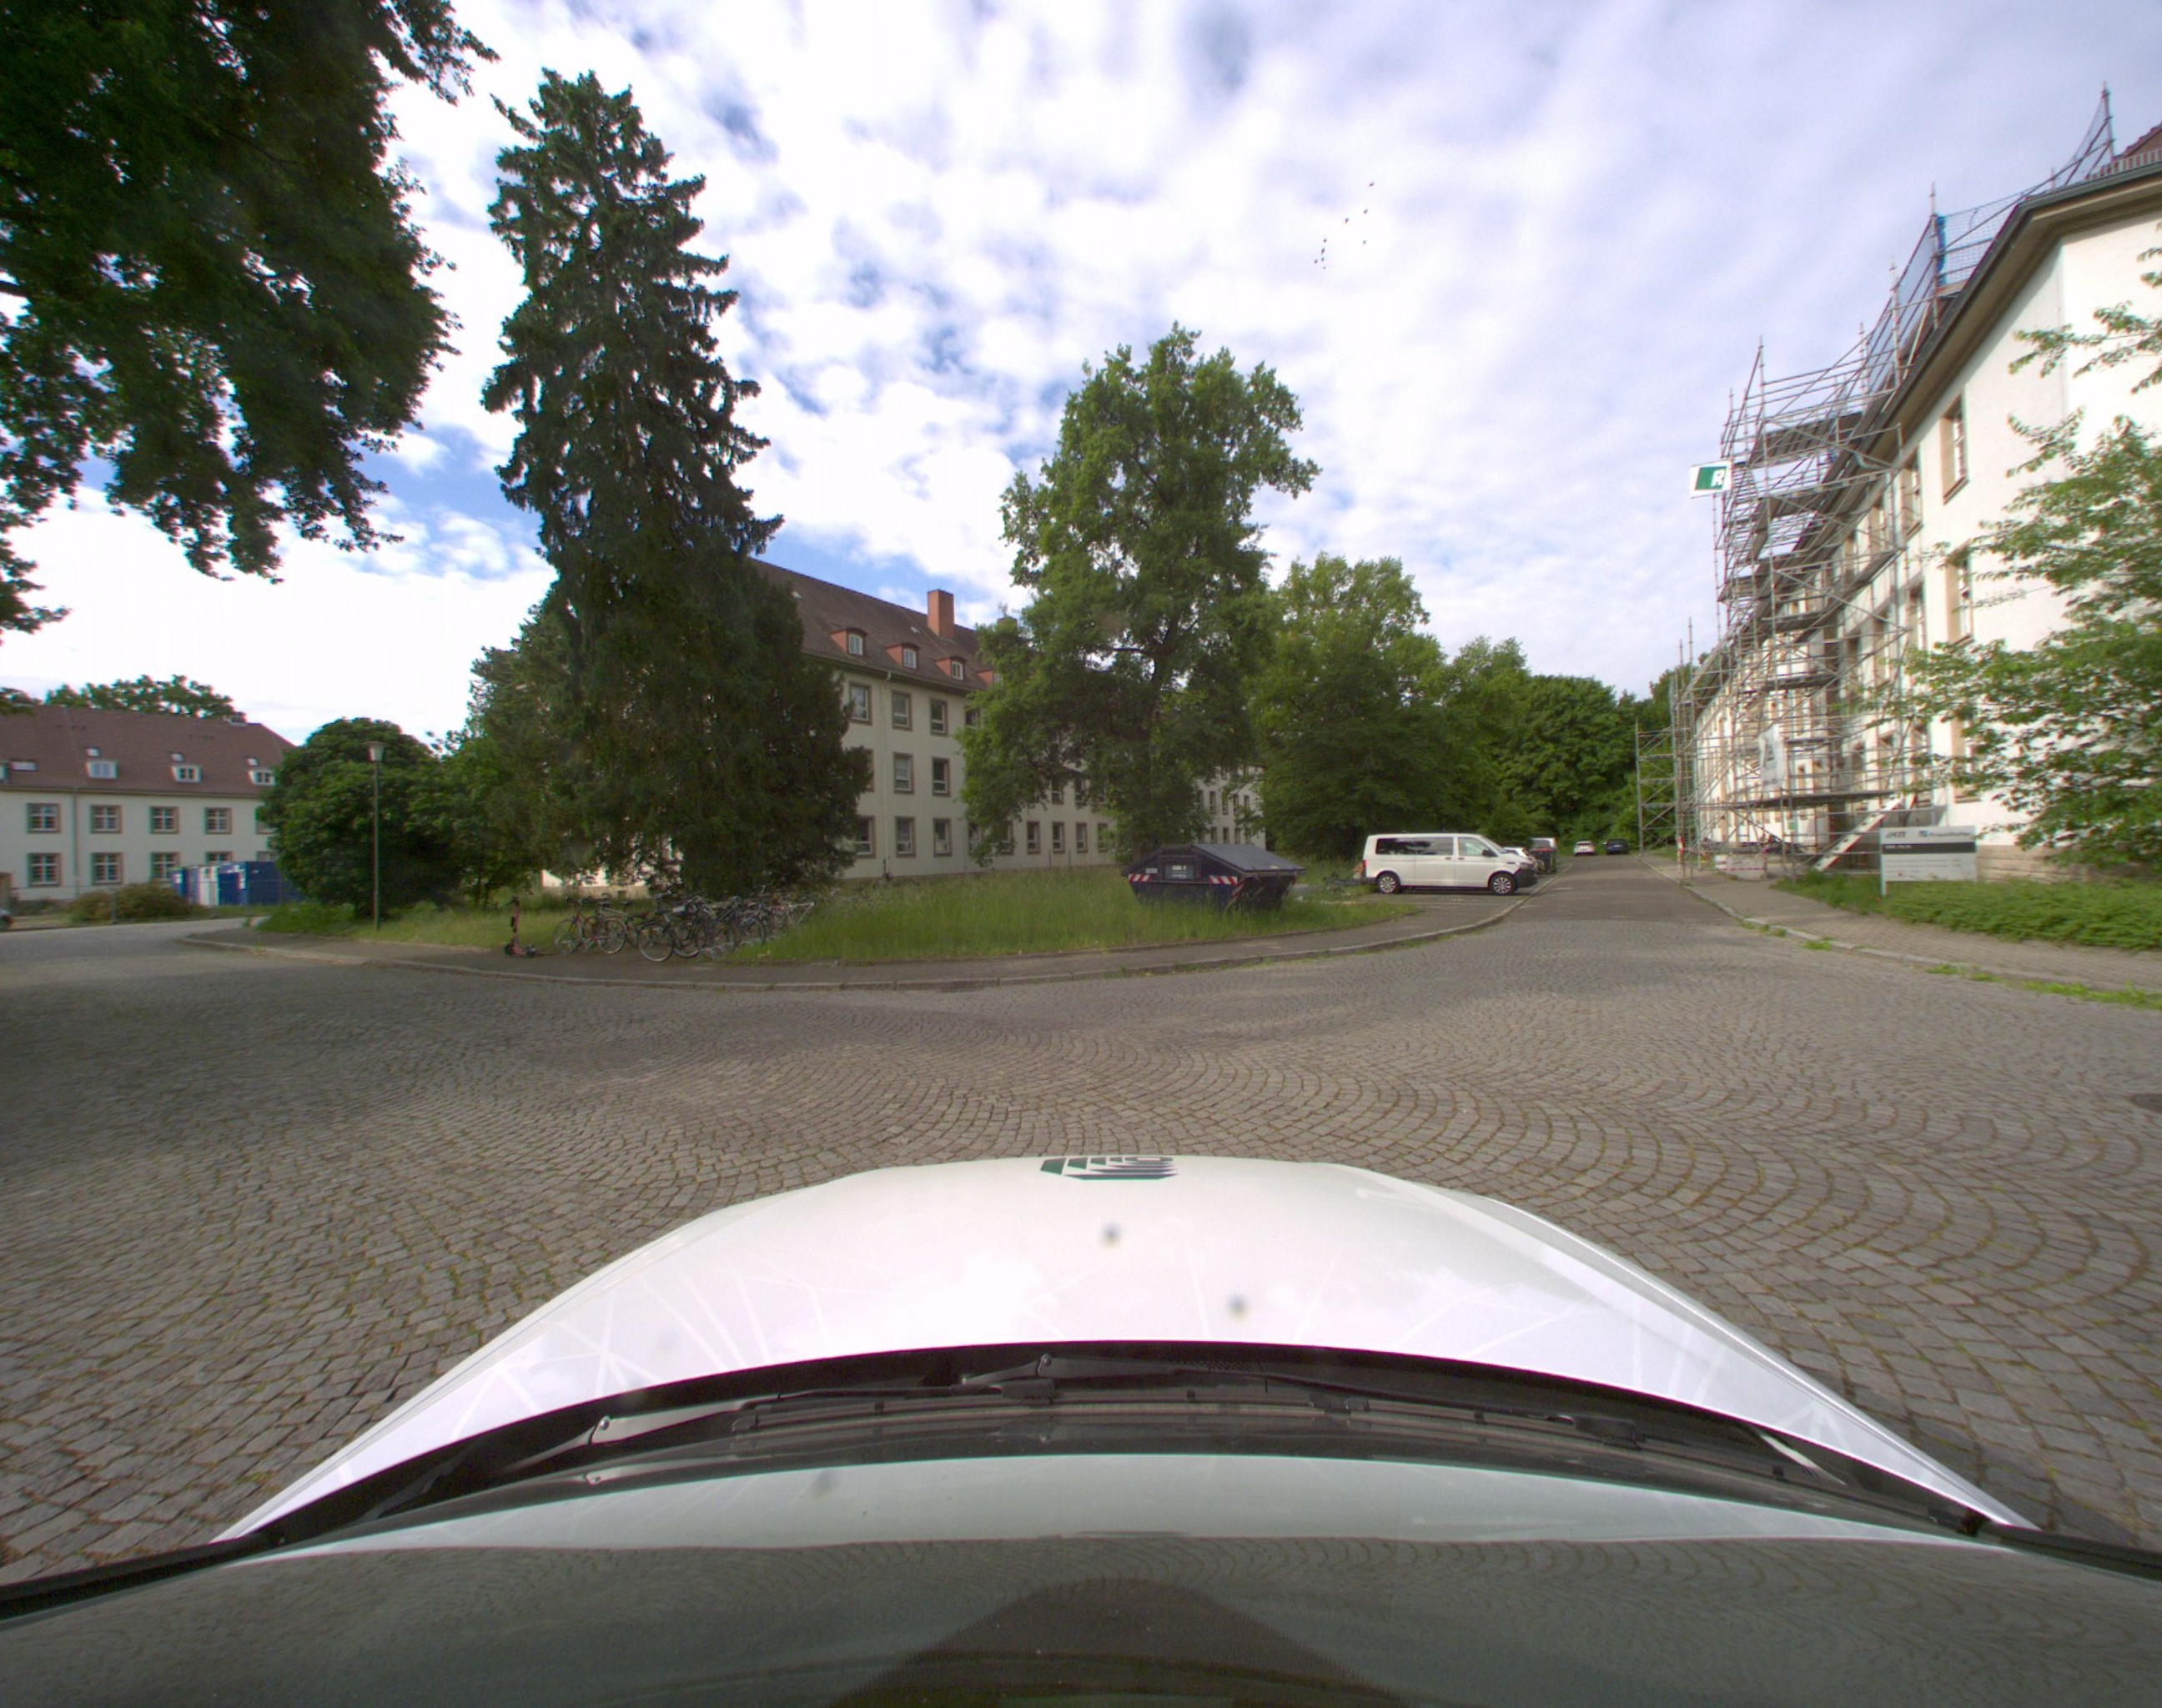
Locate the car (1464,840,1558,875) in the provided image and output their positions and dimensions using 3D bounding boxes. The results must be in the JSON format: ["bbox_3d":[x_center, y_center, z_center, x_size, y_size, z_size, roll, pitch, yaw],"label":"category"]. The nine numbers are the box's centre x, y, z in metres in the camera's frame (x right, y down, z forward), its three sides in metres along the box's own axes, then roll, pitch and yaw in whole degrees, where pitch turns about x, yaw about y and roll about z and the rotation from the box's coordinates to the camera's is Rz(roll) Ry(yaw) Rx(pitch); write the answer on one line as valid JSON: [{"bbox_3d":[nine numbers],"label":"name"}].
[{"bbox_3d":[20.400,0.144,38.701,3.646,1.592,1.775,1,1,40],"label":"car"}]

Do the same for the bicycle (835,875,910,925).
[{"bbox_3d":[-5.151,1.137,20.129,1.684,1.116,0.544,-3,1,14],"label":"bicycle"}]

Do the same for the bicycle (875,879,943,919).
[{"bbox_3d":[-4.447,1.167,21.073,1.604,0.911,0.529,-3,1,14],"label":"bicycle"}]

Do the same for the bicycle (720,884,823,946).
[{"bbox_3d":[-6.219,1.222,16.400,1.780,1.103,0.705,-3,1,14],"label":"bicycle"}]

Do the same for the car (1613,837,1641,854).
[{"bbox_3d":[52.989,-0.815,79.013,2.043,1.593,4.025,1,1,36],"label":"car"}]

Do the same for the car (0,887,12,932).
[{"bbox_3d":[-58.120,2.905,40.672,2.099,2.207,5.567,1,1,34],"label":"car"}]

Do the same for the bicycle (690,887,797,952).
[{"bbox_3d":[-6.502,1.260,15.707,1.755,1.103,0.705,-3,1,14],"label":"bicycle"}]

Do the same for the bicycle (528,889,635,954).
[{"bbox_3d":[-10.083,1.357,16.452,1.881,1.222,0.646,-2,2,14],"label":"bicycle"}]

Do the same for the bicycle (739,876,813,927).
[{"bbox_3d":[-7.715,1.195,20.632,1.629,1.185,0.575,-2,2,8],"label":"bicycle"}]

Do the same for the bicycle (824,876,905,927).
[{"bbox_3d":[-5.195,1.143,19.576,1.758,1.105,0.544,-3,1,14],"label":"bicycle"}]

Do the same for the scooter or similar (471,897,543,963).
[{"bbox_3d":[-11.424,1.485,16.198,1.532,1.195,0.686,-3,0,37],"label":"scooter or similar"}]

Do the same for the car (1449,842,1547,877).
[{"bbox_3d":[18.926,0.208,37.005,3.594,1.481,1.832,1,1,42],"label":"car"}]

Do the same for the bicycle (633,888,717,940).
[{"bbox_3d":[-9.278,1.361,18.629,1.617,1.073,0.540,-2,2,3],"label":"bicycle"}]

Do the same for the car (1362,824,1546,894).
[{"bbox_3d":[12.023,0.162,26.362,5.150,2.060,2.202,-1,0,33],"label":"car"}]

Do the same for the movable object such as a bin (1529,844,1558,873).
[{"bbox_3d":[23.390,0.223,41.190,1.172,1.407,0.981,1,0,34],"label":"movable object such as a bin"}]

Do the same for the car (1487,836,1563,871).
[{"bbox_3d":[26.993,-0.062,49.567,3.949,2.013,1.933,1,0,29],"label":"car"}]

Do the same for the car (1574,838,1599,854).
[{"bbox_3d":[50.015,-0.808,80.688,1.982,1.548,3.983,1,1,31],"label":"car"}]

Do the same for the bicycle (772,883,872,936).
[{"bbox_3d":[-5.673,1.208,17.839,1.939,1.004,0.689,-3,1,14],"label":"bicycle"}]

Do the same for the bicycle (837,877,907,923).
[{"bbox_3d":[-5.310,1.163,20.733,1.604,1.058,0.529,-3,1,14],"label":"bicycle"}]

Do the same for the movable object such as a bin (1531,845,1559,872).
[{"bbox_3d":[24.041,0.226,42.210,1.172,1.407,0.981,1,0,34],"label":"movable object such as a bin"}]

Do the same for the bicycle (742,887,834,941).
[{"bbox_3d":[-6.149,1.253,17.108,1.678,1.001,0.635,-3,1,14],"label":"bicycle"}]

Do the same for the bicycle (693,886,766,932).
[{"bbox_3d":[-8.648,1.349,20.046,1.505,1.035,0.546,-2,2,3],"label":"bicycle"}]

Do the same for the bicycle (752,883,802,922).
[{"bbox_3d":[-8.405,1.336,22.500,1.250,1.029,0.435,-3,-3,14],"label":"bicycle"}]

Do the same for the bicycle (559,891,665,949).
[{"bbox_3d":[-9.844,1.384,17.095,1.970,1.114,0.646,-2,2,14],"label":"bicycle"}]
